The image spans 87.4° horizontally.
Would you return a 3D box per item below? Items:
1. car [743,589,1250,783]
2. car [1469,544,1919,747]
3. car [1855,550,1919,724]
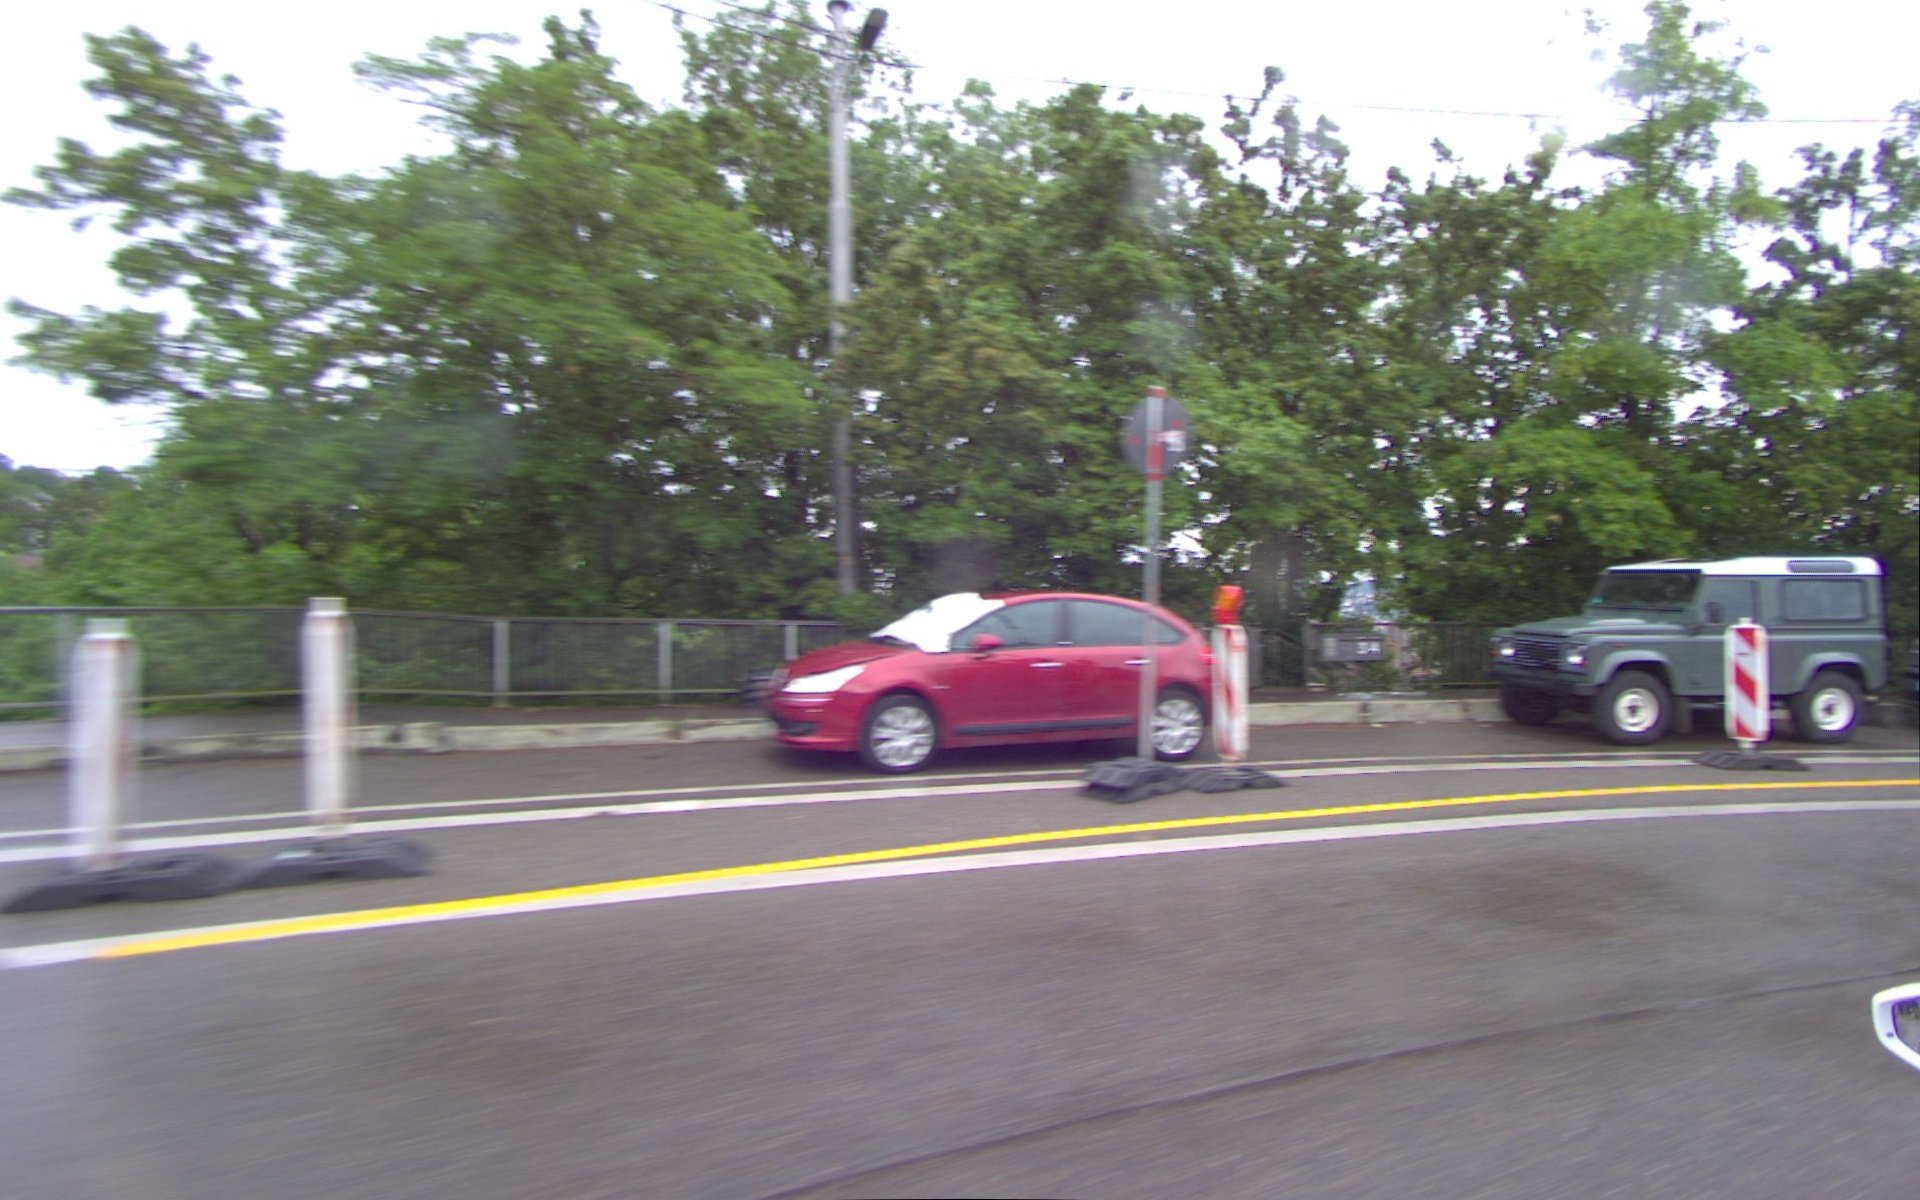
[{"bbox_3d":[0.292,0.661,9.264,4.257,1.459,1.957,1,1,-21],"label":"car"},{"bbox_3d":[8.566,0.457,11.460,4.727,2.041,1.868,0,1,-10],"label":"car"},{"bbox_3d":[13.672,0.506,11.441,4.849,2.041,2.001,2,2,6],"label":"car"}]
